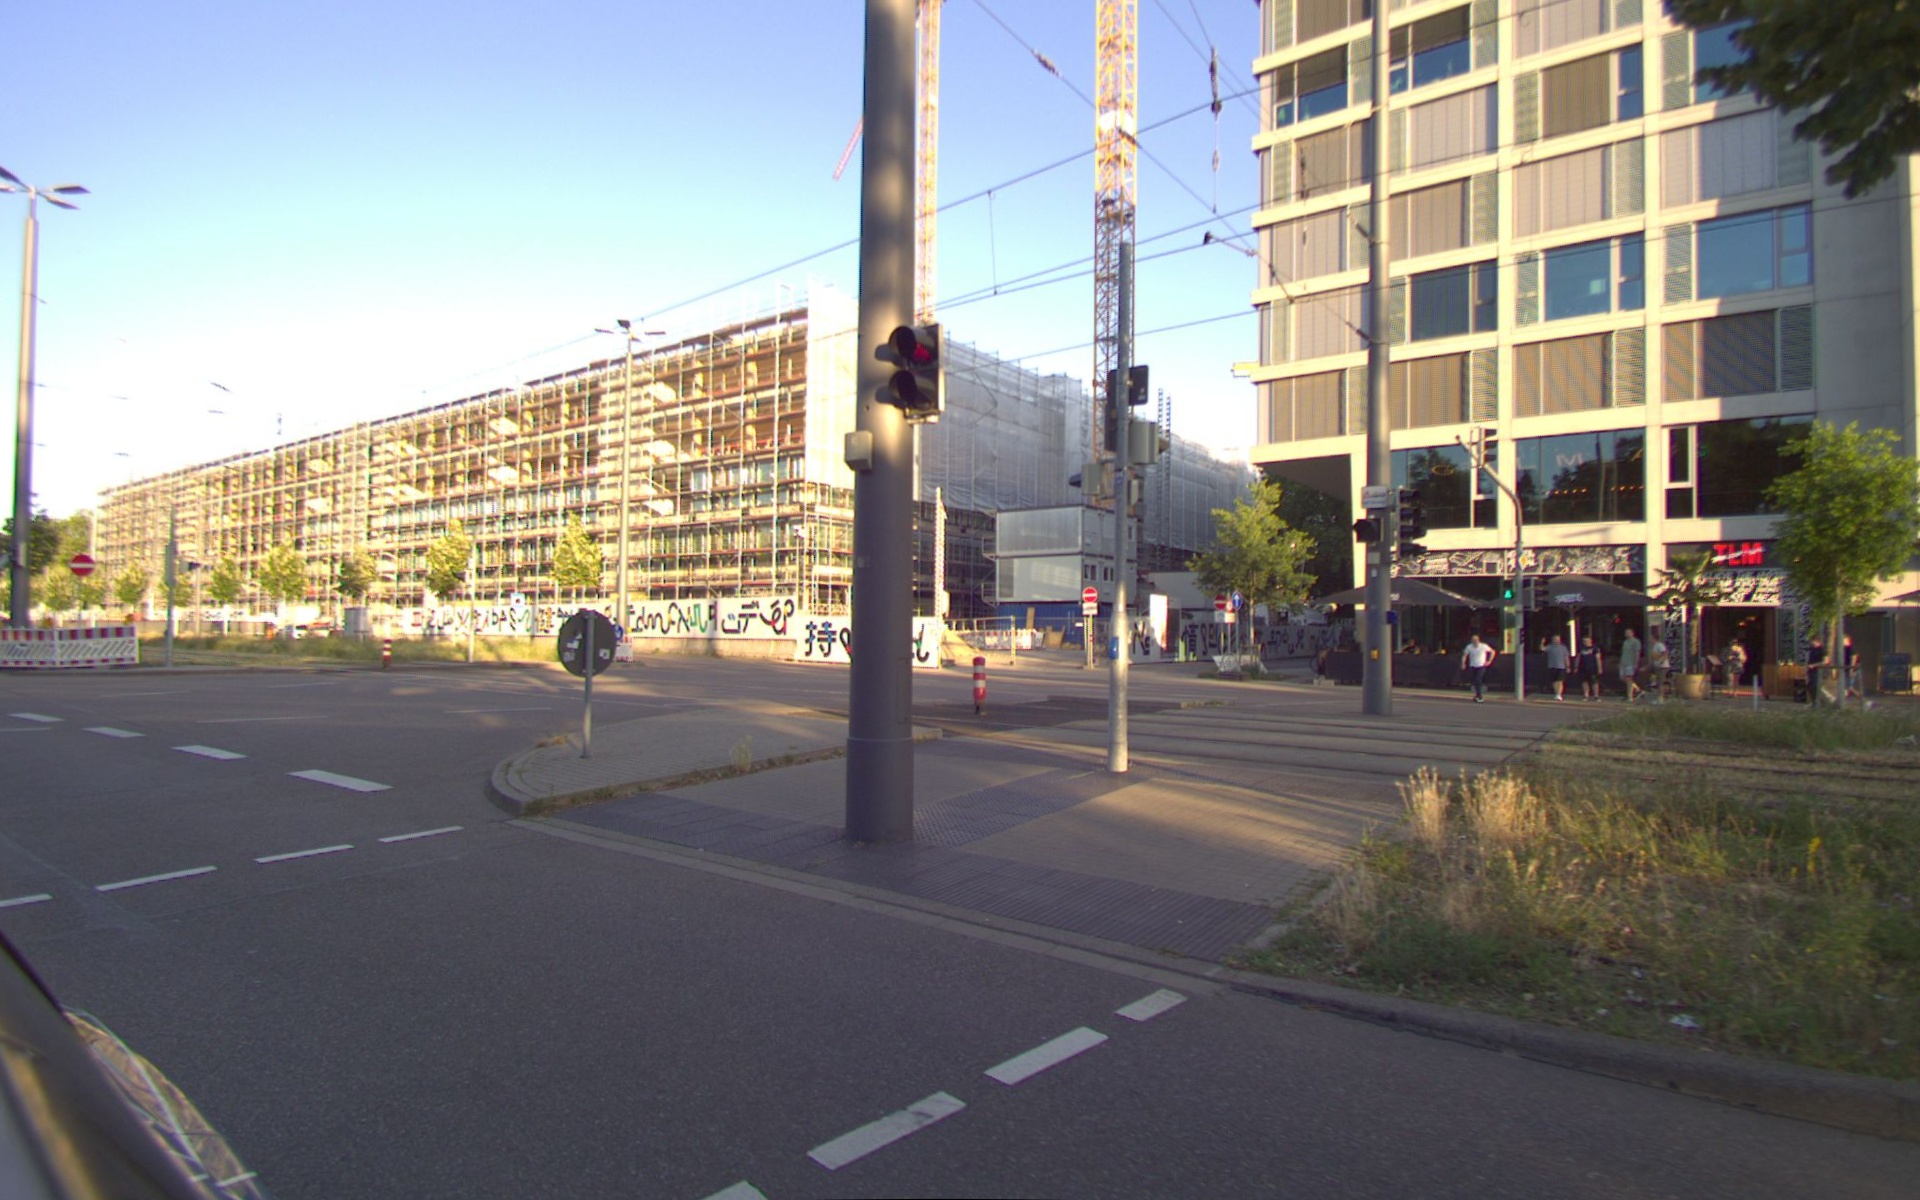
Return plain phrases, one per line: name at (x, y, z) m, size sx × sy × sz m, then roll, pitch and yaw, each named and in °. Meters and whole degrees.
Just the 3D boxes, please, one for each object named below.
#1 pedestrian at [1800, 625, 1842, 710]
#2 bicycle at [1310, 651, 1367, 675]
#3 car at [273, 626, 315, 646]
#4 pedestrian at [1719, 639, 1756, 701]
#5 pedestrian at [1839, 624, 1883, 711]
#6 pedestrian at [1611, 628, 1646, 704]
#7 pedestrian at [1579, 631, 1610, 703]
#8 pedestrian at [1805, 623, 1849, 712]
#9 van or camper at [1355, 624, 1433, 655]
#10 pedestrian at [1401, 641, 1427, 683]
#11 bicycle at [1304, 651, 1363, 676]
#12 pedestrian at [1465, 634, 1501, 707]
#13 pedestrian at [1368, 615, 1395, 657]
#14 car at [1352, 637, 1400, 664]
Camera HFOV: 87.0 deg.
pedestrian at (21.064, 1.641, 24.765) m, size 0.494 × 2.029 × 0.553 m, roll 1°, pitch -2°, yaw -12°
bicycle at (14.248, 2.371, 38.136) m, size 1.974 × 0.881 × 0.390 m, roll -3°, pitch -2°, yaw 35°
car at (-54.373, 2.931, 82.576) m, size 4.064 × 1.466 × 1.647 m, roll -1°, pitch -4°, yaw 39°
pedestrian at (20.928, 1.864, 27.238) m, size 0.708 × 1.616 × 0.671 m, roll -1°, pitch 0°, yaw 43°
pedestrian at (21.370, 1.599, 23.999) m, size 0.494 × 2.029 × 0.553 m, roll 1°, pitch -2°, yaw -12°
pedestrian at (17.718, 1.727, 26.813) m, size 0.707 × 1.938 × 0.672 m, roll -1°, pitch 0°, yaw 37°
pedestrian at (16.852, 1.765, 26.885) m, size 0.679 × 1.850 × 0.700 m, roll 0°, pitch 0°, yaw 35°
pedestrian at (20.131, 1.557, 23.497) m, size 0.494 × 2.029 × 0.553 m, roll 1°, pitch -2°, yaw -12°
van or camper at (32.734, 3.013, 76.303) m, size 4.944 × 2.139 × 2.462 m, roll -3°, pitch -4°, yaw 36°
pedestrian at (15.948, 2.167, 35.544) m, size 0.767 × 1.425 × 0.602 m, roll 0°, pitch -2°, yaw 20°
bicycle at (13.783, 2.345, 37.375) m, size 1.974 × 0.881 × 0.390 m, roll -3°, pitch -2°, yaw 35°
pedestrian at (13.730, 1.837, 26.566) m, size 0.761 × 1.850 × 0.700 m, roll -1°, pitch 0°, yaw 35°
pedestrian at (15.015, 1.273, 36.052) m, size 0.771 × 1.473 × 0.598 m, roll -1°, pitch -3°, yaw 36°
car at (26.680, 3.209, 64.806) m, size 2.006 × 1.610 × 3.660 m, roll -1°, pitch -2°, yaw 37°
